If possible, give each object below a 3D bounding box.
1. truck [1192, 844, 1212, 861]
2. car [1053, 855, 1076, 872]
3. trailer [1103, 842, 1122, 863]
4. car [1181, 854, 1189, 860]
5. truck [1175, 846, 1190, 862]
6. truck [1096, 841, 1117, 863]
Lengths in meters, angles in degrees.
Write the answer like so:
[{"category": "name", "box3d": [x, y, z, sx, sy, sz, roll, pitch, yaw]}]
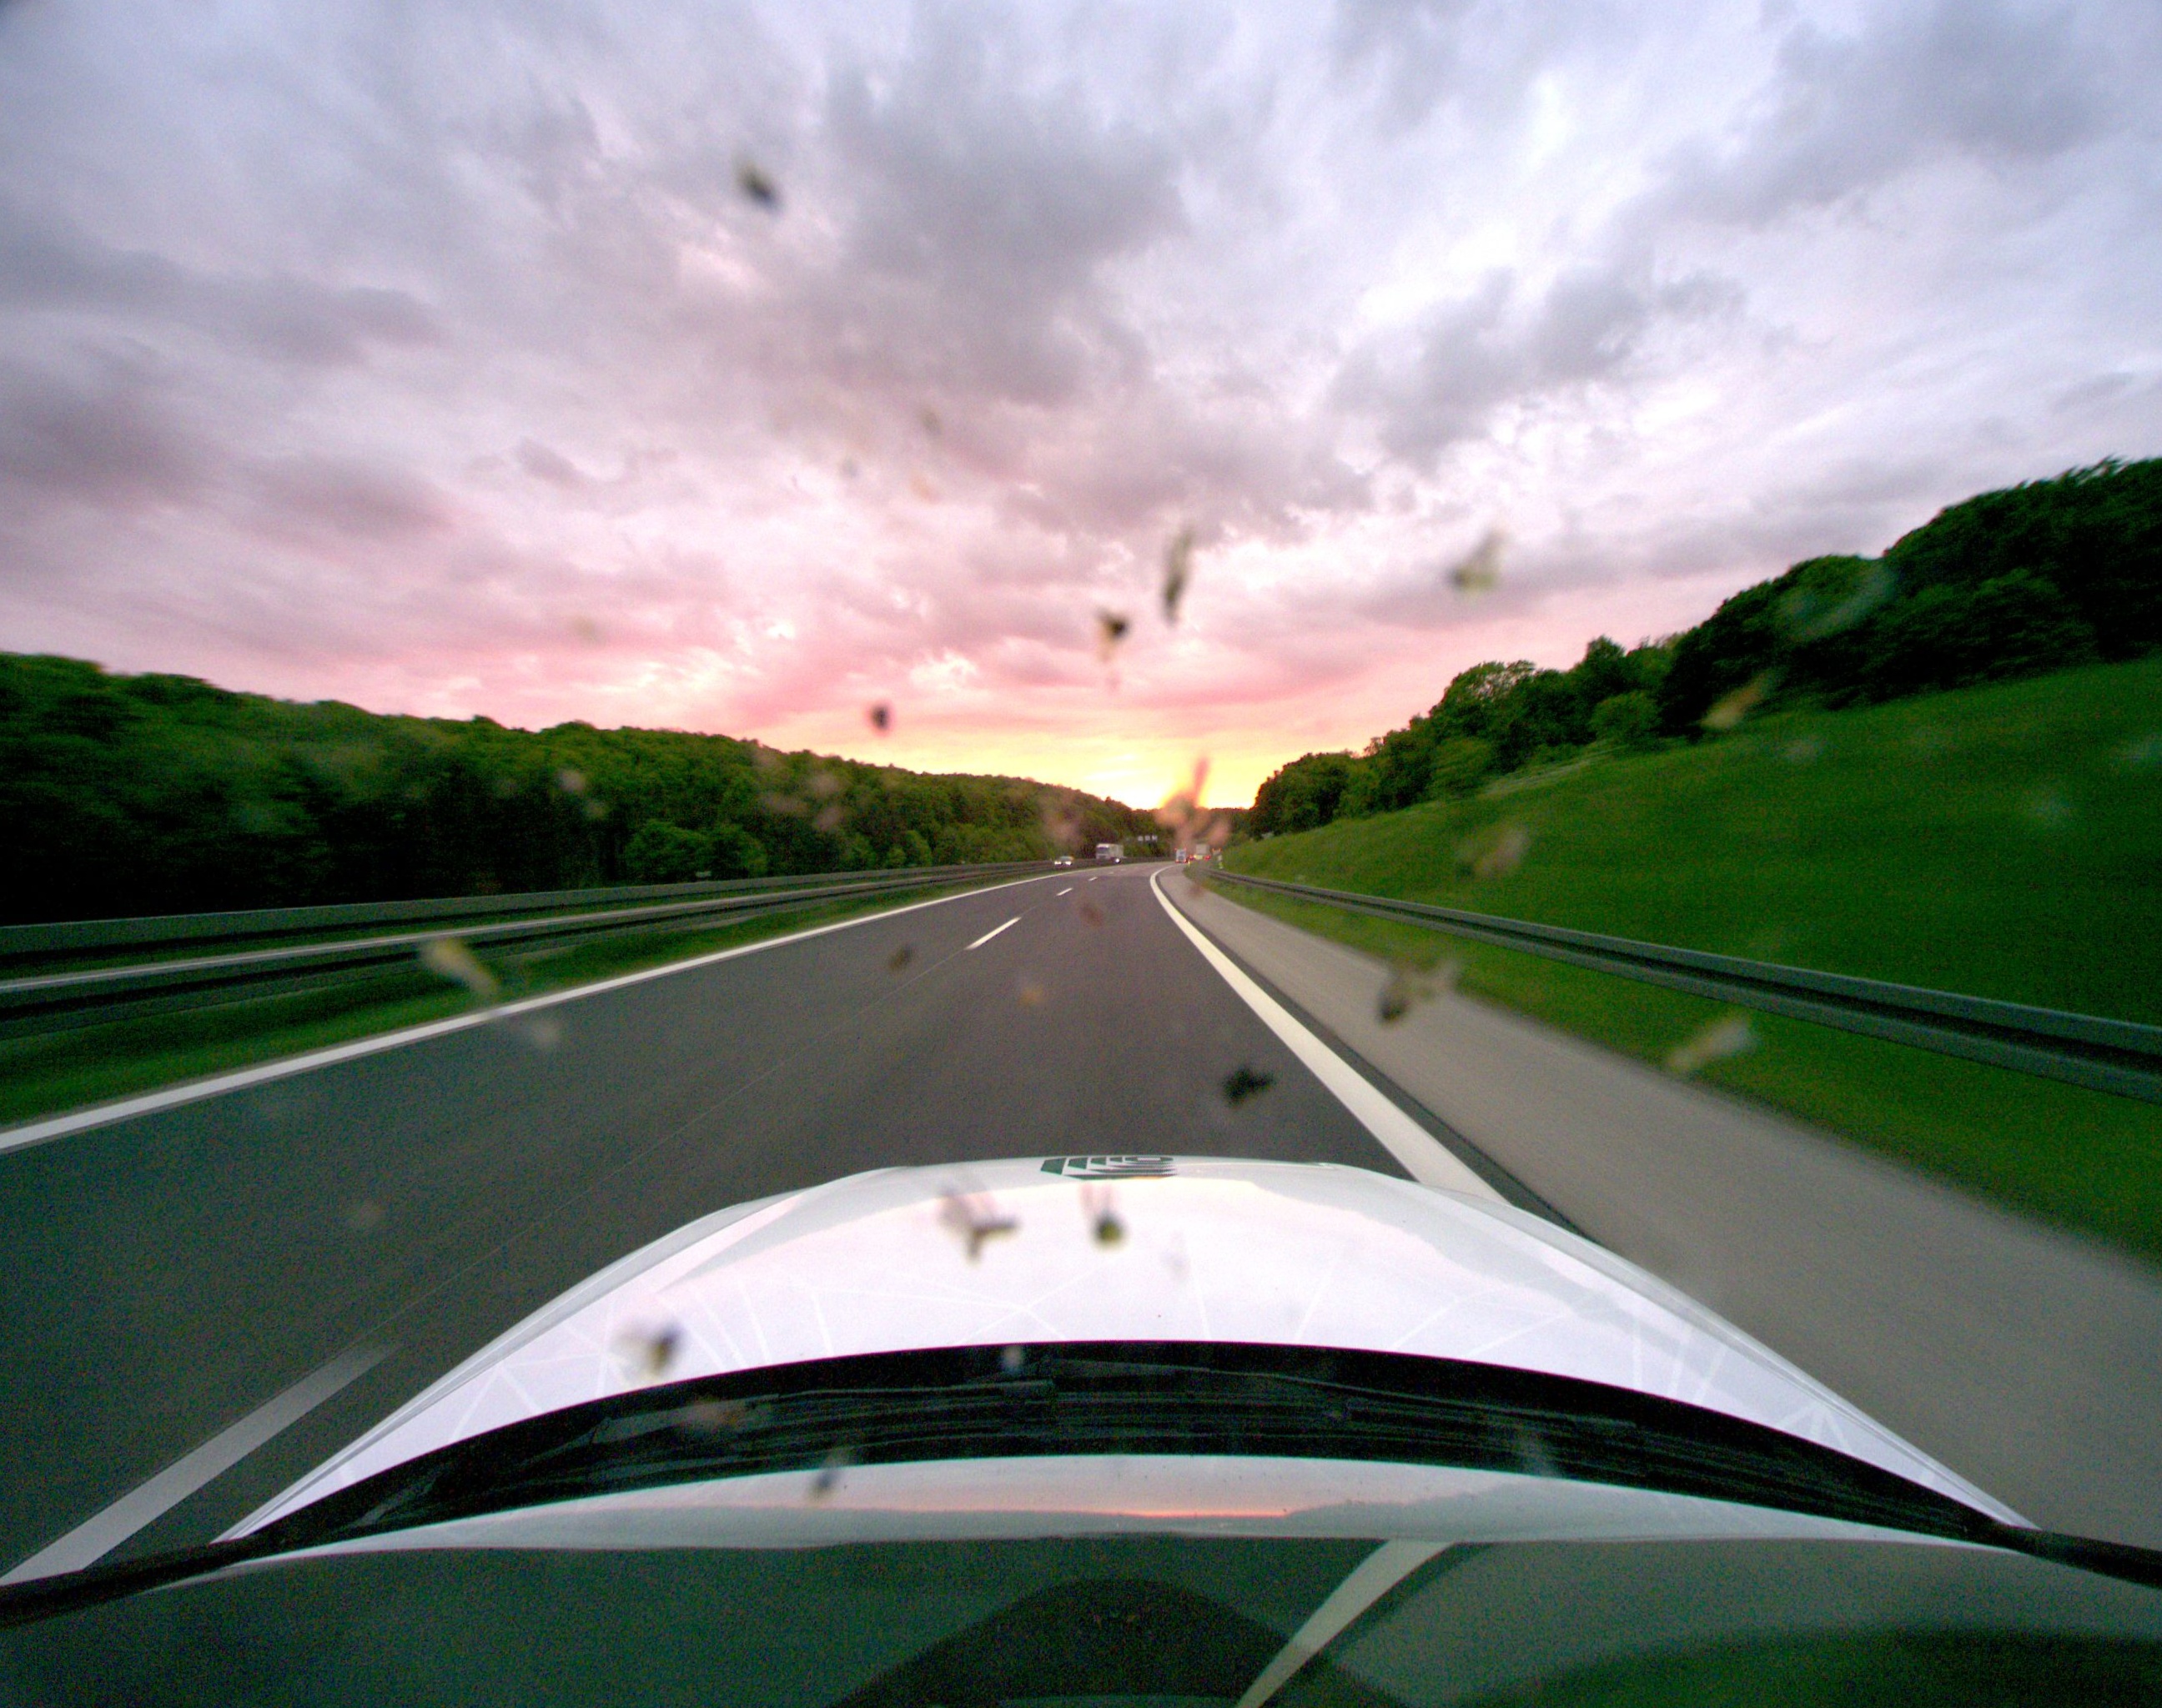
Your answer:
[{"category": "truck", "box3d": [31.664, -0.468, 212.123, 3.930, 4.286, 14.375, -2, 0, 13]}, {"category": "car", "box3d": [-2.086, 1.219, 106.335, 1.981, 2.013, 5.184, -3, -1, 10]}, {"category": "trailer", "box3d": [6.994, -0.346, 177.886, 2.814, 4.317, 9.320, -1, 0, 11]}, {"category": "car", "box3d": [27.771, 0.874, 217.663, 1.981, 1.517, 4.012, -2, 0, 11]}, {"category": "truck", "box3d": [19.397, 0.022, 155.772, 2.261, 2.664, 5.253, -3, 2, 11]}, {"category": "truck", "box3d": [5.239, -0.353, 168.303, 2.847, 4.281, 10.093, -1, 0, 10]}]
